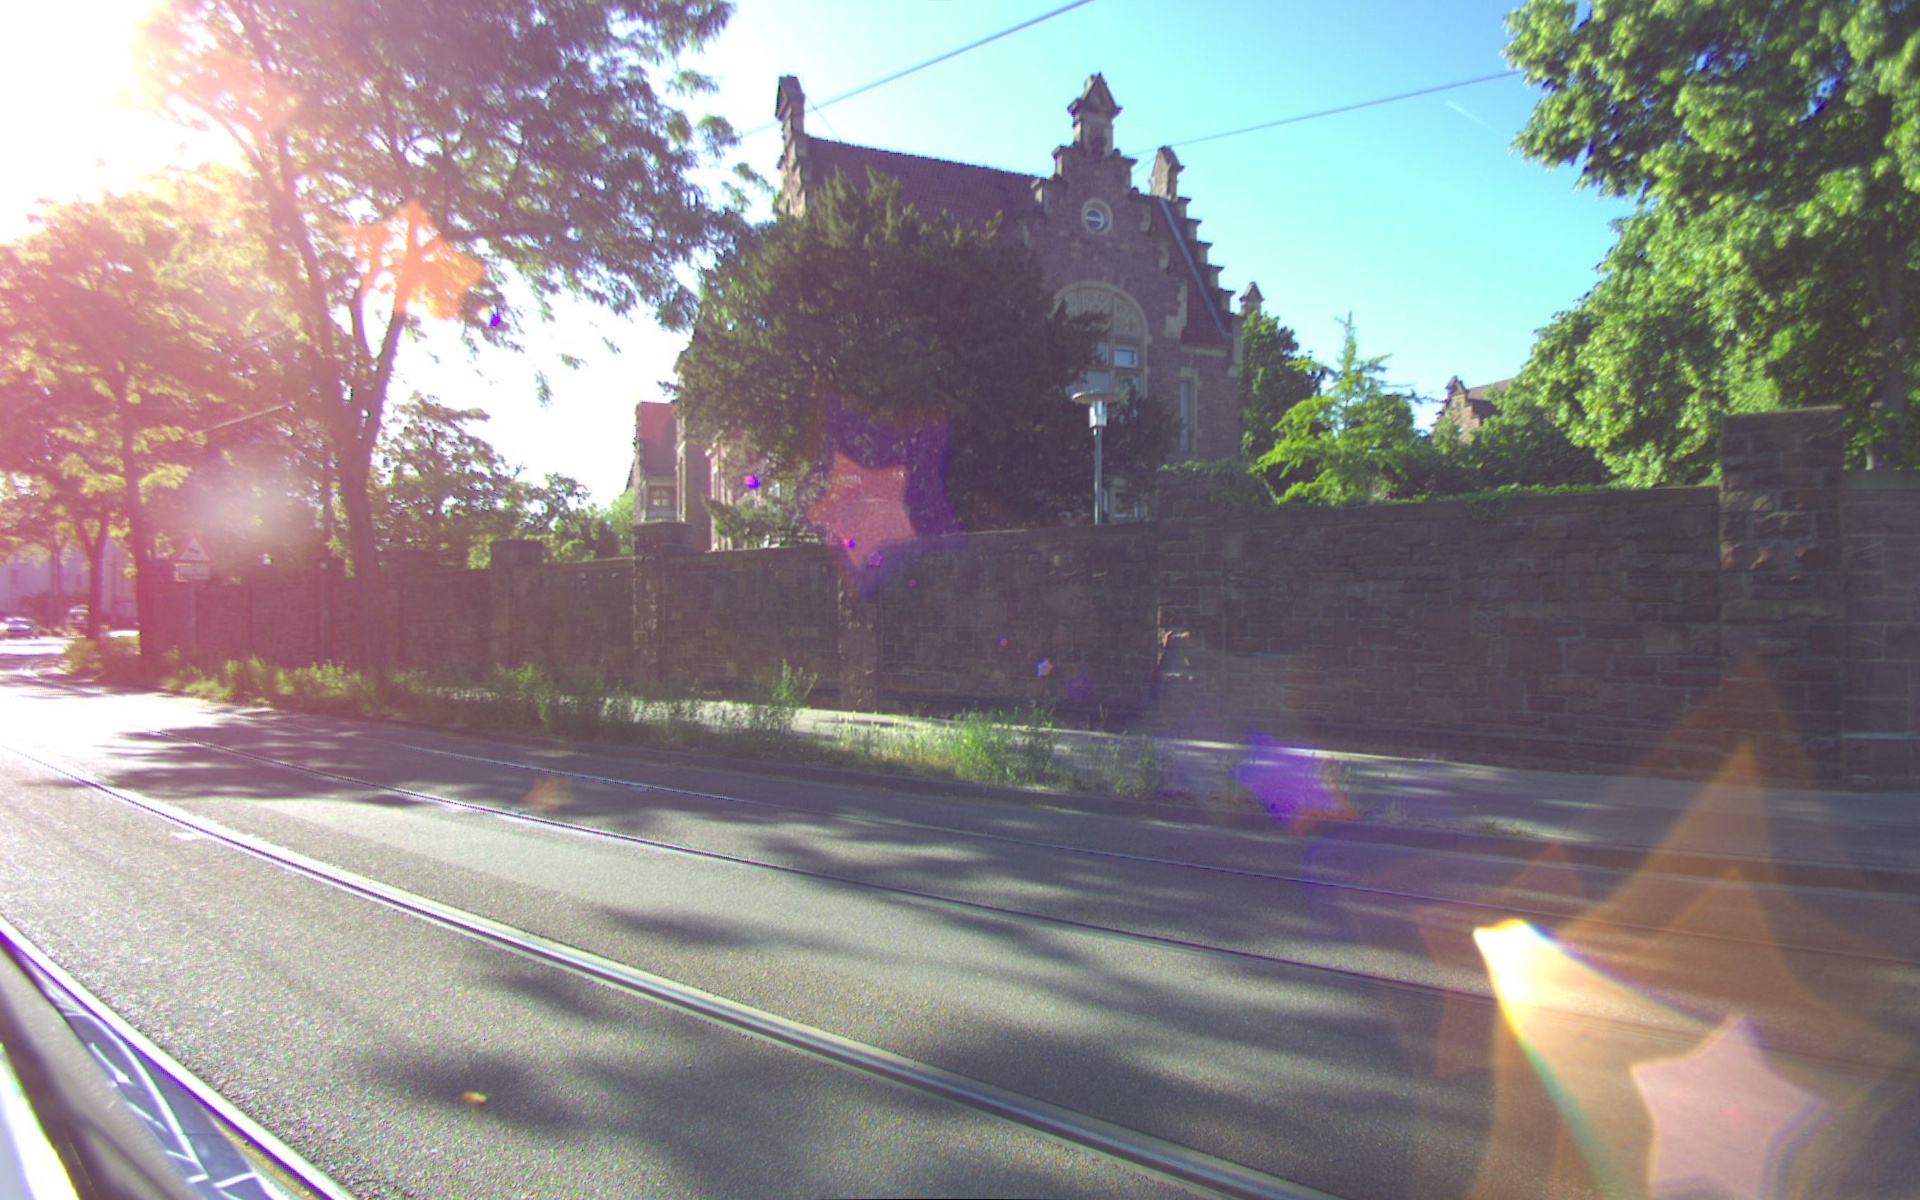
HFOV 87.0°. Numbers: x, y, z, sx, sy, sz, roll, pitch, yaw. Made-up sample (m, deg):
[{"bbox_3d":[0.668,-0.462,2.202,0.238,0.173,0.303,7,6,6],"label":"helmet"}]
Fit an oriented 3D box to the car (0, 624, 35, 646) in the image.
[{"bbox_3d":[-68.888,2.517,73.846,1.969,1.560,4.005,0,-1,-41],"label":"car"}]
